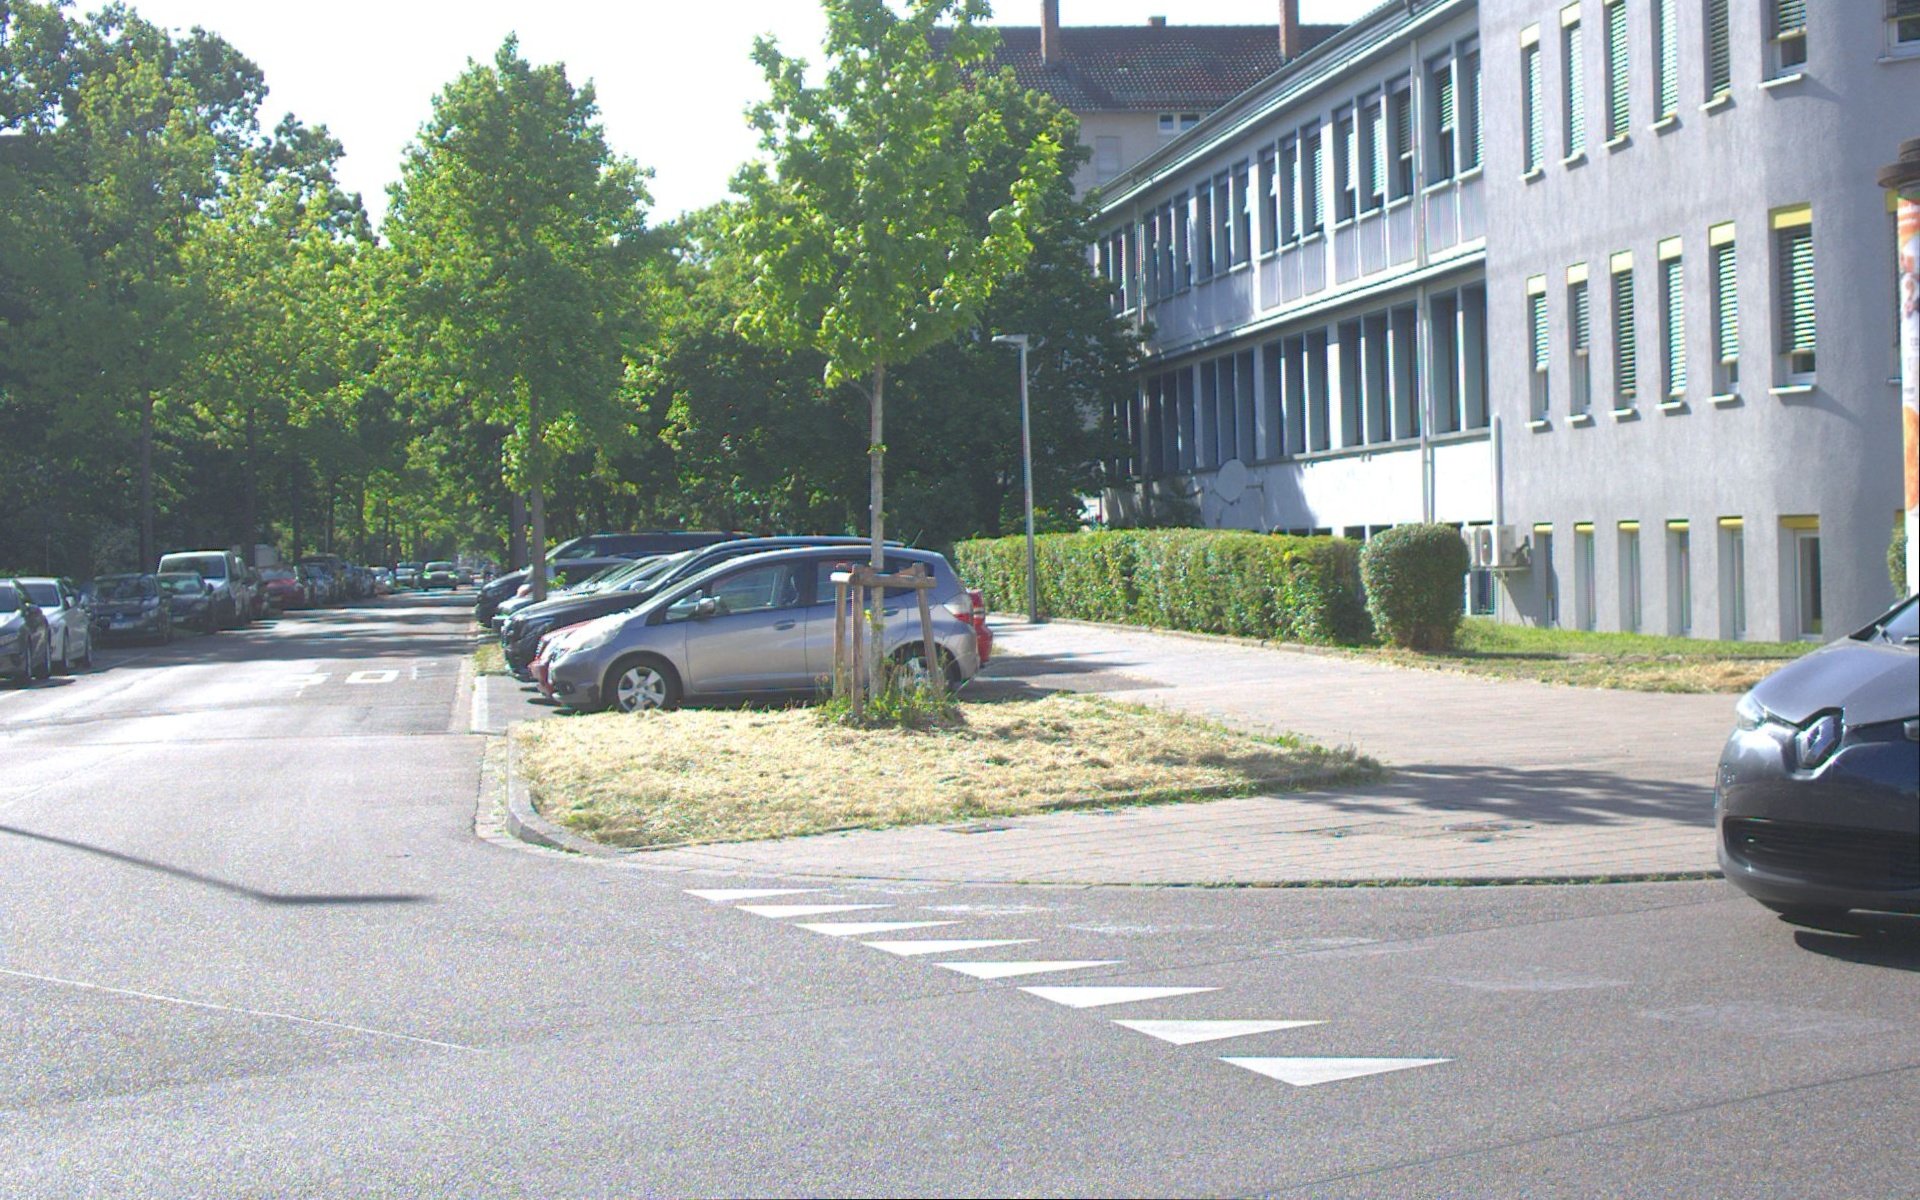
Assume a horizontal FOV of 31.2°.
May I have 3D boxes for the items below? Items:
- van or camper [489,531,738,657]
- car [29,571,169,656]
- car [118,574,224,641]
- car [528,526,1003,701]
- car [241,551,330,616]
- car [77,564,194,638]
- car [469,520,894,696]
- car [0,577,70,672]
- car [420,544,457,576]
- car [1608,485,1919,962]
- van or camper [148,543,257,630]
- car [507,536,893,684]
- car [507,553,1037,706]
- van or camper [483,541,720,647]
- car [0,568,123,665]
[{"bbox_3d":[-5.734,-0.094,56.620,3.986,2.007,2.000,1,0,-8],"label":"van or camper"},{"bbox_3d":[-14.844,0.216,59.440,1.842,1.393,4.001,-1,0,-7],"label":"car"},{"bbox_3d":[-17.350,0.156,75.764,1.842,1.393,4.001,-1,0,-7],"label":"car"},{"bbox_3d":[-1.789,0.106,31.096,4.087,1.487,1.729,-1,0,-10],"label":"car"},{"bbox_3d":[-21.377,-0.513,109.087,1.993,2.007,4.000,1,0,0],"label":"car"},{"bbox_3d":[-16.270,0.021,67.979,1.993,1.403,3.909,1,0,-10],"label":"car"},{"bbox_3d":[-2.974,0.089,36.224,4.278,1.758,2.000,1,0,-10],"label":"car"},{"bbox_3d":[-13.117,0.304,46.341,1.629,1.230,4.193,1,0,-7],"label":"car"},{"bbox_3d":[-29.646,-2.259,195.472,1.993,1.741,4.001,-1,1,-8],"label":"car"},{"bbox_3d":[4.488,0.369,12.315,4.124,1.499,1.843,-1,1,-33],"label":"car"},{"bbox_3d":[-17.999,-0.303,81.859,1.993,2.007,4.000,1,0,-5],"label":"van or camper"},{"bbox_3d":[-2.991,0.112,39.066,4.203,1.590,2.000,1,0,-9],"label":"car"},{"bbox_3d":[-1.843,0.266,33.146,4.868,1.270,1.729,-2,0,-11],"label":"car"},{"bbox_3d":[-6.220,-0.105,59.450,3.986,1.766,2.000,1,0,-8],"label":"van or camper"},{"bbox_3d":[-13.973,0.242,52.160,1.993,1.393,4.001,-1,0,-7],"label":"car"}]
